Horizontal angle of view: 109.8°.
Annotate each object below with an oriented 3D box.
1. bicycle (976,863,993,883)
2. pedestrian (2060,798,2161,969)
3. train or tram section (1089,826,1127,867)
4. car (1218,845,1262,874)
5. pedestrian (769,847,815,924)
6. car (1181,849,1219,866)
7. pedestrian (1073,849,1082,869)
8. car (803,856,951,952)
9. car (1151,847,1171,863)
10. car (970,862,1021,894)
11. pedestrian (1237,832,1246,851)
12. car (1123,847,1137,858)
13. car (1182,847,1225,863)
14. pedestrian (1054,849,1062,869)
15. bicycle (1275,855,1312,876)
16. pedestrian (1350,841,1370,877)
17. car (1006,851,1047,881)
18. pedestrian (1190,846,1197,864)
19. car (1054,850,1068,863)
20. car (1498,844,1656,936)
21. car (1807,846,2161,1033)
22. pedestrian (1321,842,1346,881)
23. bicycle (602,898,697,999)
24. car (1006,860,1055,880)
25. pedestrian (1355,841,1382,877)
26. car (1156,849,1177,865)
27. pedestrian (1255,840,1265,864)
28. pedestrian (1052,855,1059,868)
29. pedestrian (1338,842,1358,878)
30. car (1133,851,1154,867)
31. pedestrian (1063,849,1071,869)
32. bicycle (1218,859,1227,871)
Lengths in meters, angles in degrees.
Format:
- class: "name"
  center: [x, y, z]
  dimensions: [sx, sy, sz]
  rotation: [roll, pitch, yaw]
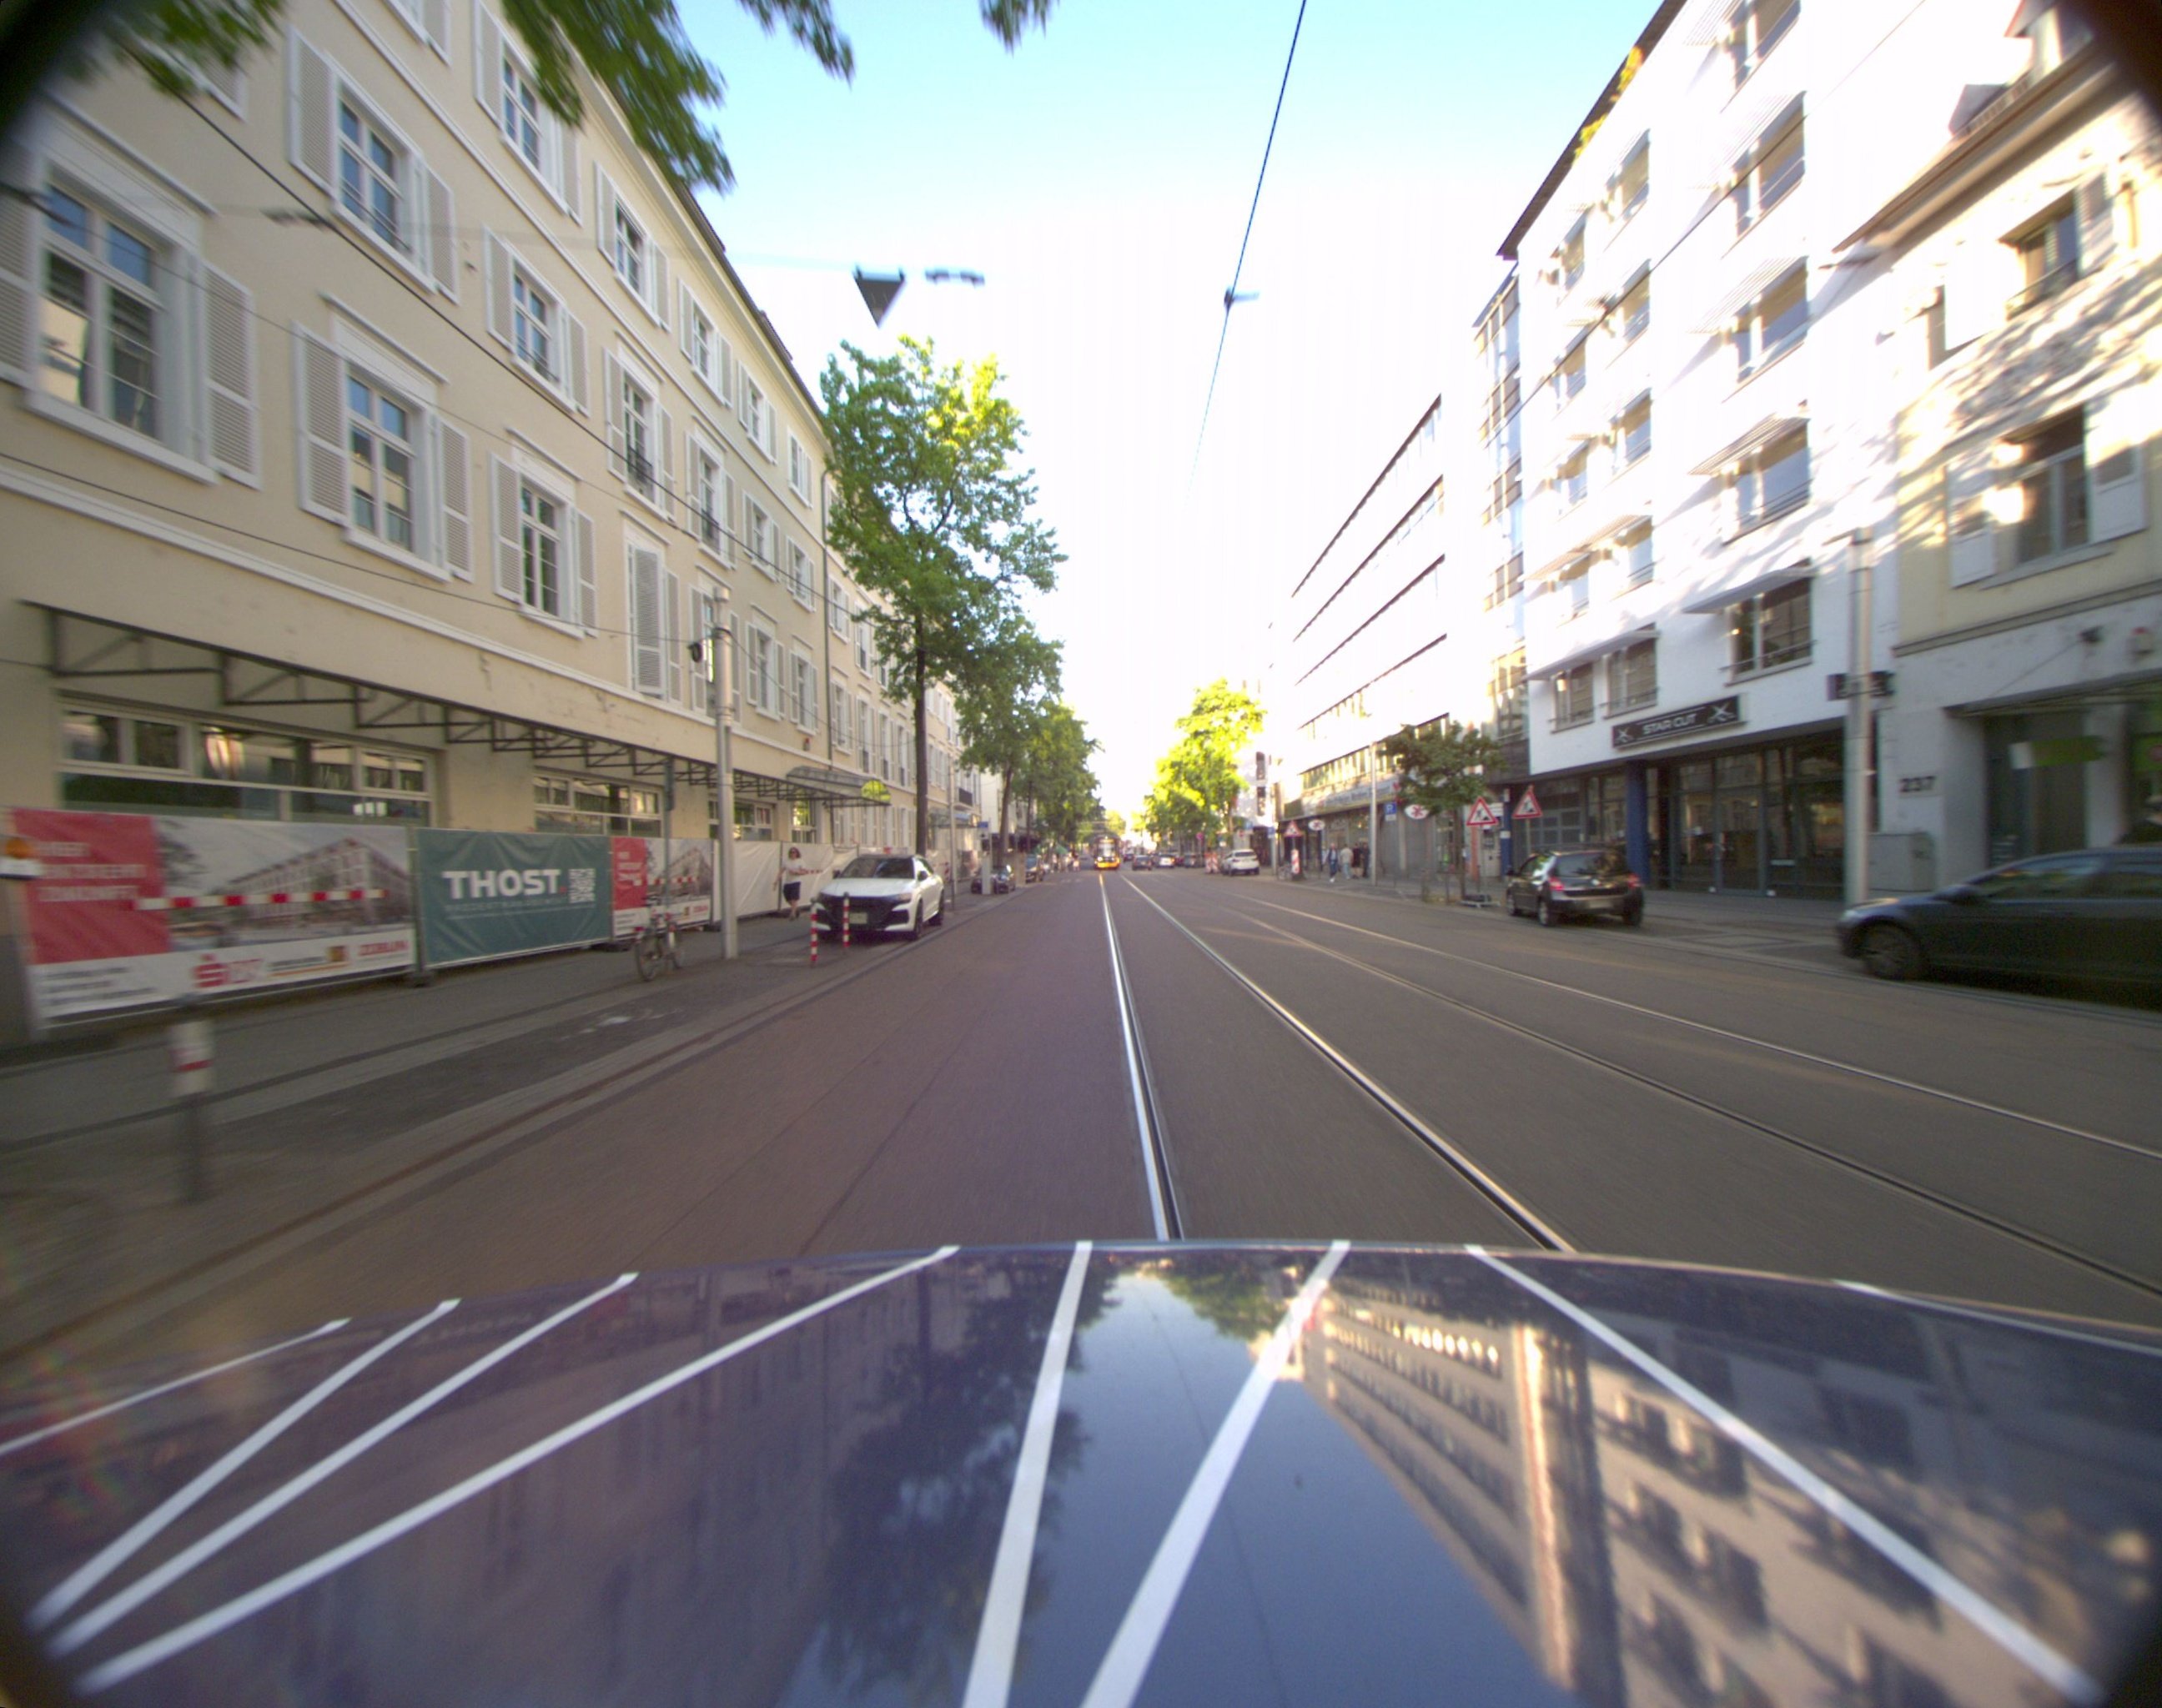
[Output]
- class: "bicycle"
  center: [-5.411, 1.054, 42.431]
  dimensions: [0.656, 1.064, 1.671]
  rotation: [1, 0, -18]
- class: "pedestrian"
  center: [11.922, 0.303, 8.519]
  dimensions: [0.661, 1.815, 0.878]
  rotation: [-4, 1, 2]
- class: "train or tram section"
  center: [2.839, -0.726, 82.411]
  dimensions: [3.607, 3.974, 15.716]
  rotation: [-1, 0, 1]
- class: "car"
  center: [10.841, 0.362, 52.050]
  dimensions: [1.998, 1.744, 4.744]
  rotation: [-3, 0, 1]
- class: "pedestrian"
  center: [-7.291, 0.771, 19.217]
  dimensions: [0.714, 1.876, 1.053]
  rotation: [0, 1, 1]
- class: "car"
  center: [12.530, 0.382, 79.833]
  dimensions: [3.404, 1.551, 1.786]
  rotation: [-5, 2, -25]
- class: "pedestrian"
  center: [-0.307, 0.480, 74.641]
  dimensions: [0.772, 1.922, 0.873]
  rotation: [-1, 0, 3]
- class: "car"
  center: [-4.184, 0.928, 16.488]
  dimensions: [2.003, 1.678, 4.966]
  rotation: [1, 1, -2]
- class: "car"
  center: [9.580, 0.131, 91.498]
  dimensions: [2.039, 1.796, 4.200]
  rotation: [0, 0, 1]
- class: "car"
  center: [-3.905, 1.048, 35.325]
  dimensions: [1.798, 1.304, 4.329]
  rotation: [1, 1, 2]
- class: "pedestrian"
  center: [14.803, -1.149, 69.988]
  dimensions: [0.725, 1.636, 0.612]
  rotation: [-1, 1, 3]
- class: "car"
  center: [8.154, -0.230, 125.963]
  dimensions: [2.039, 1.677, 4.200]
  rotation: [-2, 0, 1]
- class: "car"
  center: [13.411, 0.063, 82.913]
  dimensions: [4.320, 1.404, 1.576]
  rotation: [-4, 2, -17]
- class: "pedestrian"
  center: [-2.266, 0.523, 74.960]
  dimensions: [0.598, 1.922, 0.873]
  rotation: [-1, 0, 3]
- class: "bicycle"
  center: [11.355, 0.636, 40.619]
  dimensions: [1.748, 0.986, 0.478]
  rotation: [-5, 0, 9]
- class: "pedestrian"
  center: [13.511, 0.250, 36.800]
  dimensions: [0.628, 1.703, 0.808]
  rotation: [-3, 1, 5]
- class: "car"
  center: [-3.432, 0.737, 48.671]
  dimensions: [1.956, 1.782, 4.317]
  rotation: [1, 1, 4]
- class: "pedestrian"
  center: [12.528, 0.120, 84.773]
  dimensions: [0.656, 1.922, 0.723]
  rotation: [-1, 1, 3]
- class: "car"
  center: [-2.889, 0.352, 111.092]
  dimensions: [2.003, 1.831, 4.966]
  rotation: [1, 1, -2]
- class: "car"
  center: [9.956, 0.648, 15.566]
  dimensions: [1.632, 1.606, 3.712]
  rotation: [-3, 0, 16]
- class: "car"
  center: [9.903, 0.715, 7.180]
  dimensions: [1.797, 1.481, 4.240]
  rotation: [-3, 1, -5]
- class: "pedestrian"
  center: [11.797, 0.343, 35.512]
  dimensions: [0.853, 1.756, 0.832]
  rotation: [-1, 1, -1]
- class: "bicycle"
  center: [-5.770, 1.216, 10.275]
  dimensions: [0.419, 1.094, 1.986]
  rotation: [0, 1, -8]
- class: "car"
  center: [-4.370, 1.387, 66.714]
  dimensions: [3.937, 1.600, 1.867]
  rotation: [-1, 2, 8]
- class: "pedestrian"
  center: [14.203, 0.226, 37.527]
  dimensions: [0.834, 1.685, 1.038]
  rotation: [-4, 1, 1]
- class: "car"
  center: [9.006, 0.275, 80.252]
  dimensions: [1.889, 1.602, 4.200]
  rotation: [0, 0, 1]
- class: "pedestrian"
  center: [15.161, -0.145, 64.416]
  dimensions: [0.616, 2.002, 0.592]
  rotation: [-1, 1, 0]
- class: "pedestrian"
  center: [-2.607, 0.814, 78.049]
  dimensions: [0.716, 1.321, 0.624]
  rotation: [-1, 0, 3]
- class: "pedestrian"
  center: [12.808, 0.282, 36.437]
  dimensions: [0.643, 1.703, 0.829]
  rotation: [-3, 1, 5]
- class: "car"
  center: [5.977, 0.481, 72.995]
  dimensions: [1.783, 1.399, 4.528]
  rotation: [-1, 0, 2]
- class: "pedestrian"
  center: [-1.349, 0.503, 74.966]
  dimensions: [0.672, 1.922, 0.873]
  rotation: [-1, 0, 3]
- class: "bicycle"
  center: [10.835, 0.863, 58.298]
  dimensions: [0.503, 0.832, 1.535]
  rotation: [-4, 1, 7]
